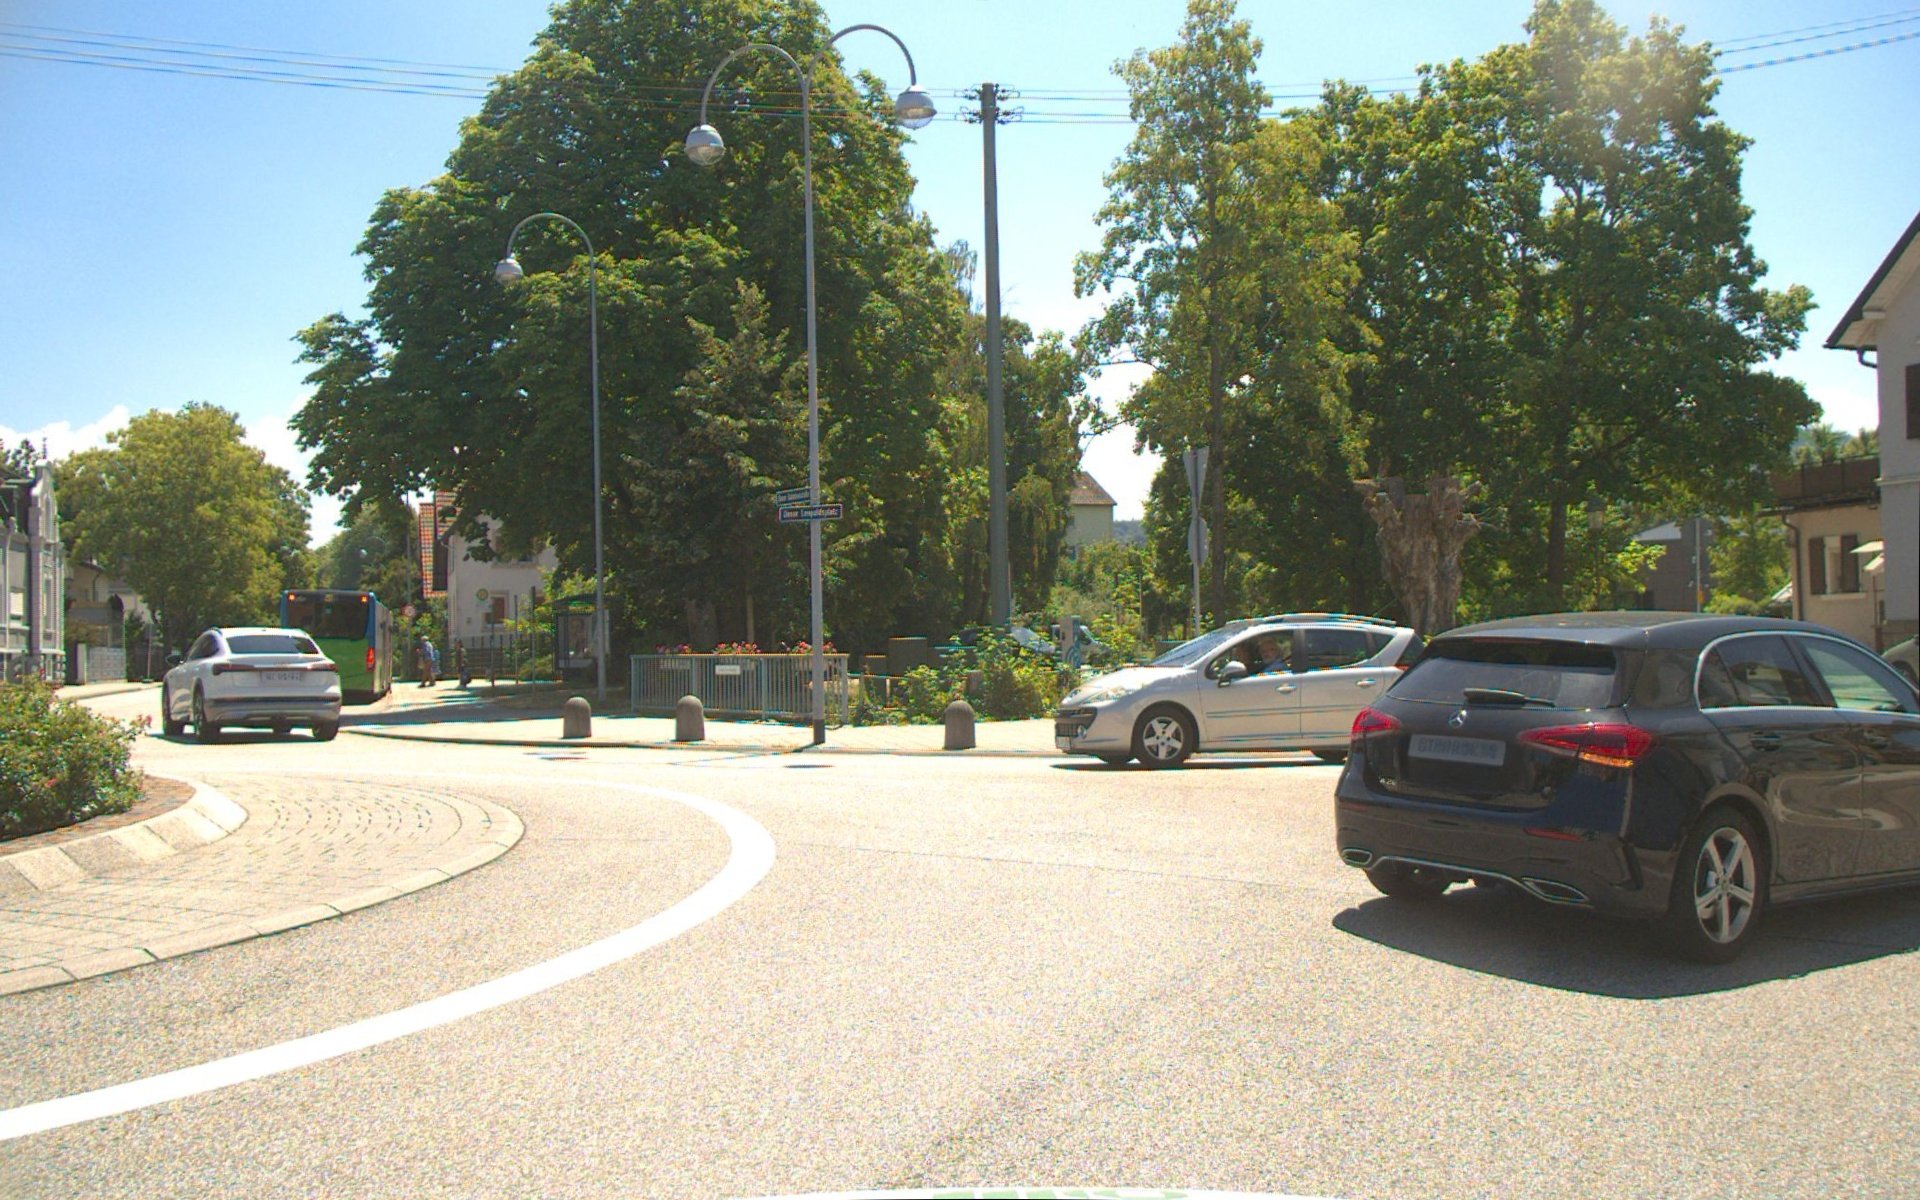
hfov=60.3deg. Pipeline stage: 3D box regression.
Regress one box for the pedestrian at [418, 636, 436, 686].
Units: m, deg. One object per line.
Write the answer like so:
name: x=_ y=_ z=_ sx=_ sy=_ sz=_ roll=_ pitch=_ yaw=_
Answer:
pedestrian: x=-18.210 y=2.082 z=56.472 sx=0.496 sy=1.679 sz=0.575 roll=-1 pitch=-1 yaw=-25

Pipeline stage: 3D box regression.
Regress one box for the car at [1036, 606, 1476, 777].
car: x=3.015 y=0.890 z=17.086 sx=4.124 sy=1.543 sz=1.739 roll=-1 pitch=-1 yaw=-15

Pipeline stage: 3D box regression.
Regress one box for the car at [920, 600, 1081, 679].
car: x=1.111 y=1.086 z=45.291 sx=3.913 sy=2.049 sz=1.996 roll=-2 pitch=-1 yaw=31

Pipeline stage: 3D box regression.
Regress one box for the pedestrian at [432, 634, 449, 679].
pedestrian: x=-18.054 y=1.949 z=57.499 sx=0.482 sy=1.549 sz=0.538 roll=-1 pitch=-1 yaw=-25

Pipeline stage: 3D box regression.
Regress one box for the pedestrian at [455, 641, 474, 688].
pedestrian: x=-16.130 y=2.096 z=53.840 sx=0.483 sy=1.479 sz=0.526 roll=-1 pitch=-1 yaw=-25

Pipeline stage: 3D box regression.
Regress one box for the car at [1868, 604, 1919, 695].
car: x=18.752 y=0.877 z=29.939 sx=1.724 sy=1.669 sz=3.981 roll=-1 pitch=-1 yaw=-16

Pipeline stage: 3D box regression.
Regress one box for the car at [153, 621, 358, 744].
car: x=-10.770 y=1.221 z=25.127 sx=1.884 sy=1.691 sz=4.351 roll=2 pitch=-3 yaw=-36

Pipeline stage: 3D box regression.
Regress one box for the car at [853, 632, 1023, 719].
car: x=-0.437 y=1.477 z=33.154 sx=3.021 sy=1.580 sz=1.615 roll=-1 pitch=-1 yaw=-33

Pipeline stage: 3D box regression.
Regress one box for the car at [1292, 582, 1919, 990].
car: x=3.834 y=0.694 z=8.286 sx=4.389 sy=1.482 sz=1.747 roll=0 pitch=3 yaw=-36

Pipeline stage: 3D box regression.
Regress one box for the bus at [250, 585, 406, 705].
bus: x=-19.988 y=1.525 z=53.438 sx=3.649 sy=3.227 sz=17.974 roll=1 pitch=-2 yaw=-18

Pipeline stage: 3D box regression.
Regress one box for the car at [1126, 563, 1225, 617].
car: x=8.786 y=-0.398 z=67.535 sx=3.902 sy=2.049 sz=2.001 roll=-2 pitch=-1 yaw=6
